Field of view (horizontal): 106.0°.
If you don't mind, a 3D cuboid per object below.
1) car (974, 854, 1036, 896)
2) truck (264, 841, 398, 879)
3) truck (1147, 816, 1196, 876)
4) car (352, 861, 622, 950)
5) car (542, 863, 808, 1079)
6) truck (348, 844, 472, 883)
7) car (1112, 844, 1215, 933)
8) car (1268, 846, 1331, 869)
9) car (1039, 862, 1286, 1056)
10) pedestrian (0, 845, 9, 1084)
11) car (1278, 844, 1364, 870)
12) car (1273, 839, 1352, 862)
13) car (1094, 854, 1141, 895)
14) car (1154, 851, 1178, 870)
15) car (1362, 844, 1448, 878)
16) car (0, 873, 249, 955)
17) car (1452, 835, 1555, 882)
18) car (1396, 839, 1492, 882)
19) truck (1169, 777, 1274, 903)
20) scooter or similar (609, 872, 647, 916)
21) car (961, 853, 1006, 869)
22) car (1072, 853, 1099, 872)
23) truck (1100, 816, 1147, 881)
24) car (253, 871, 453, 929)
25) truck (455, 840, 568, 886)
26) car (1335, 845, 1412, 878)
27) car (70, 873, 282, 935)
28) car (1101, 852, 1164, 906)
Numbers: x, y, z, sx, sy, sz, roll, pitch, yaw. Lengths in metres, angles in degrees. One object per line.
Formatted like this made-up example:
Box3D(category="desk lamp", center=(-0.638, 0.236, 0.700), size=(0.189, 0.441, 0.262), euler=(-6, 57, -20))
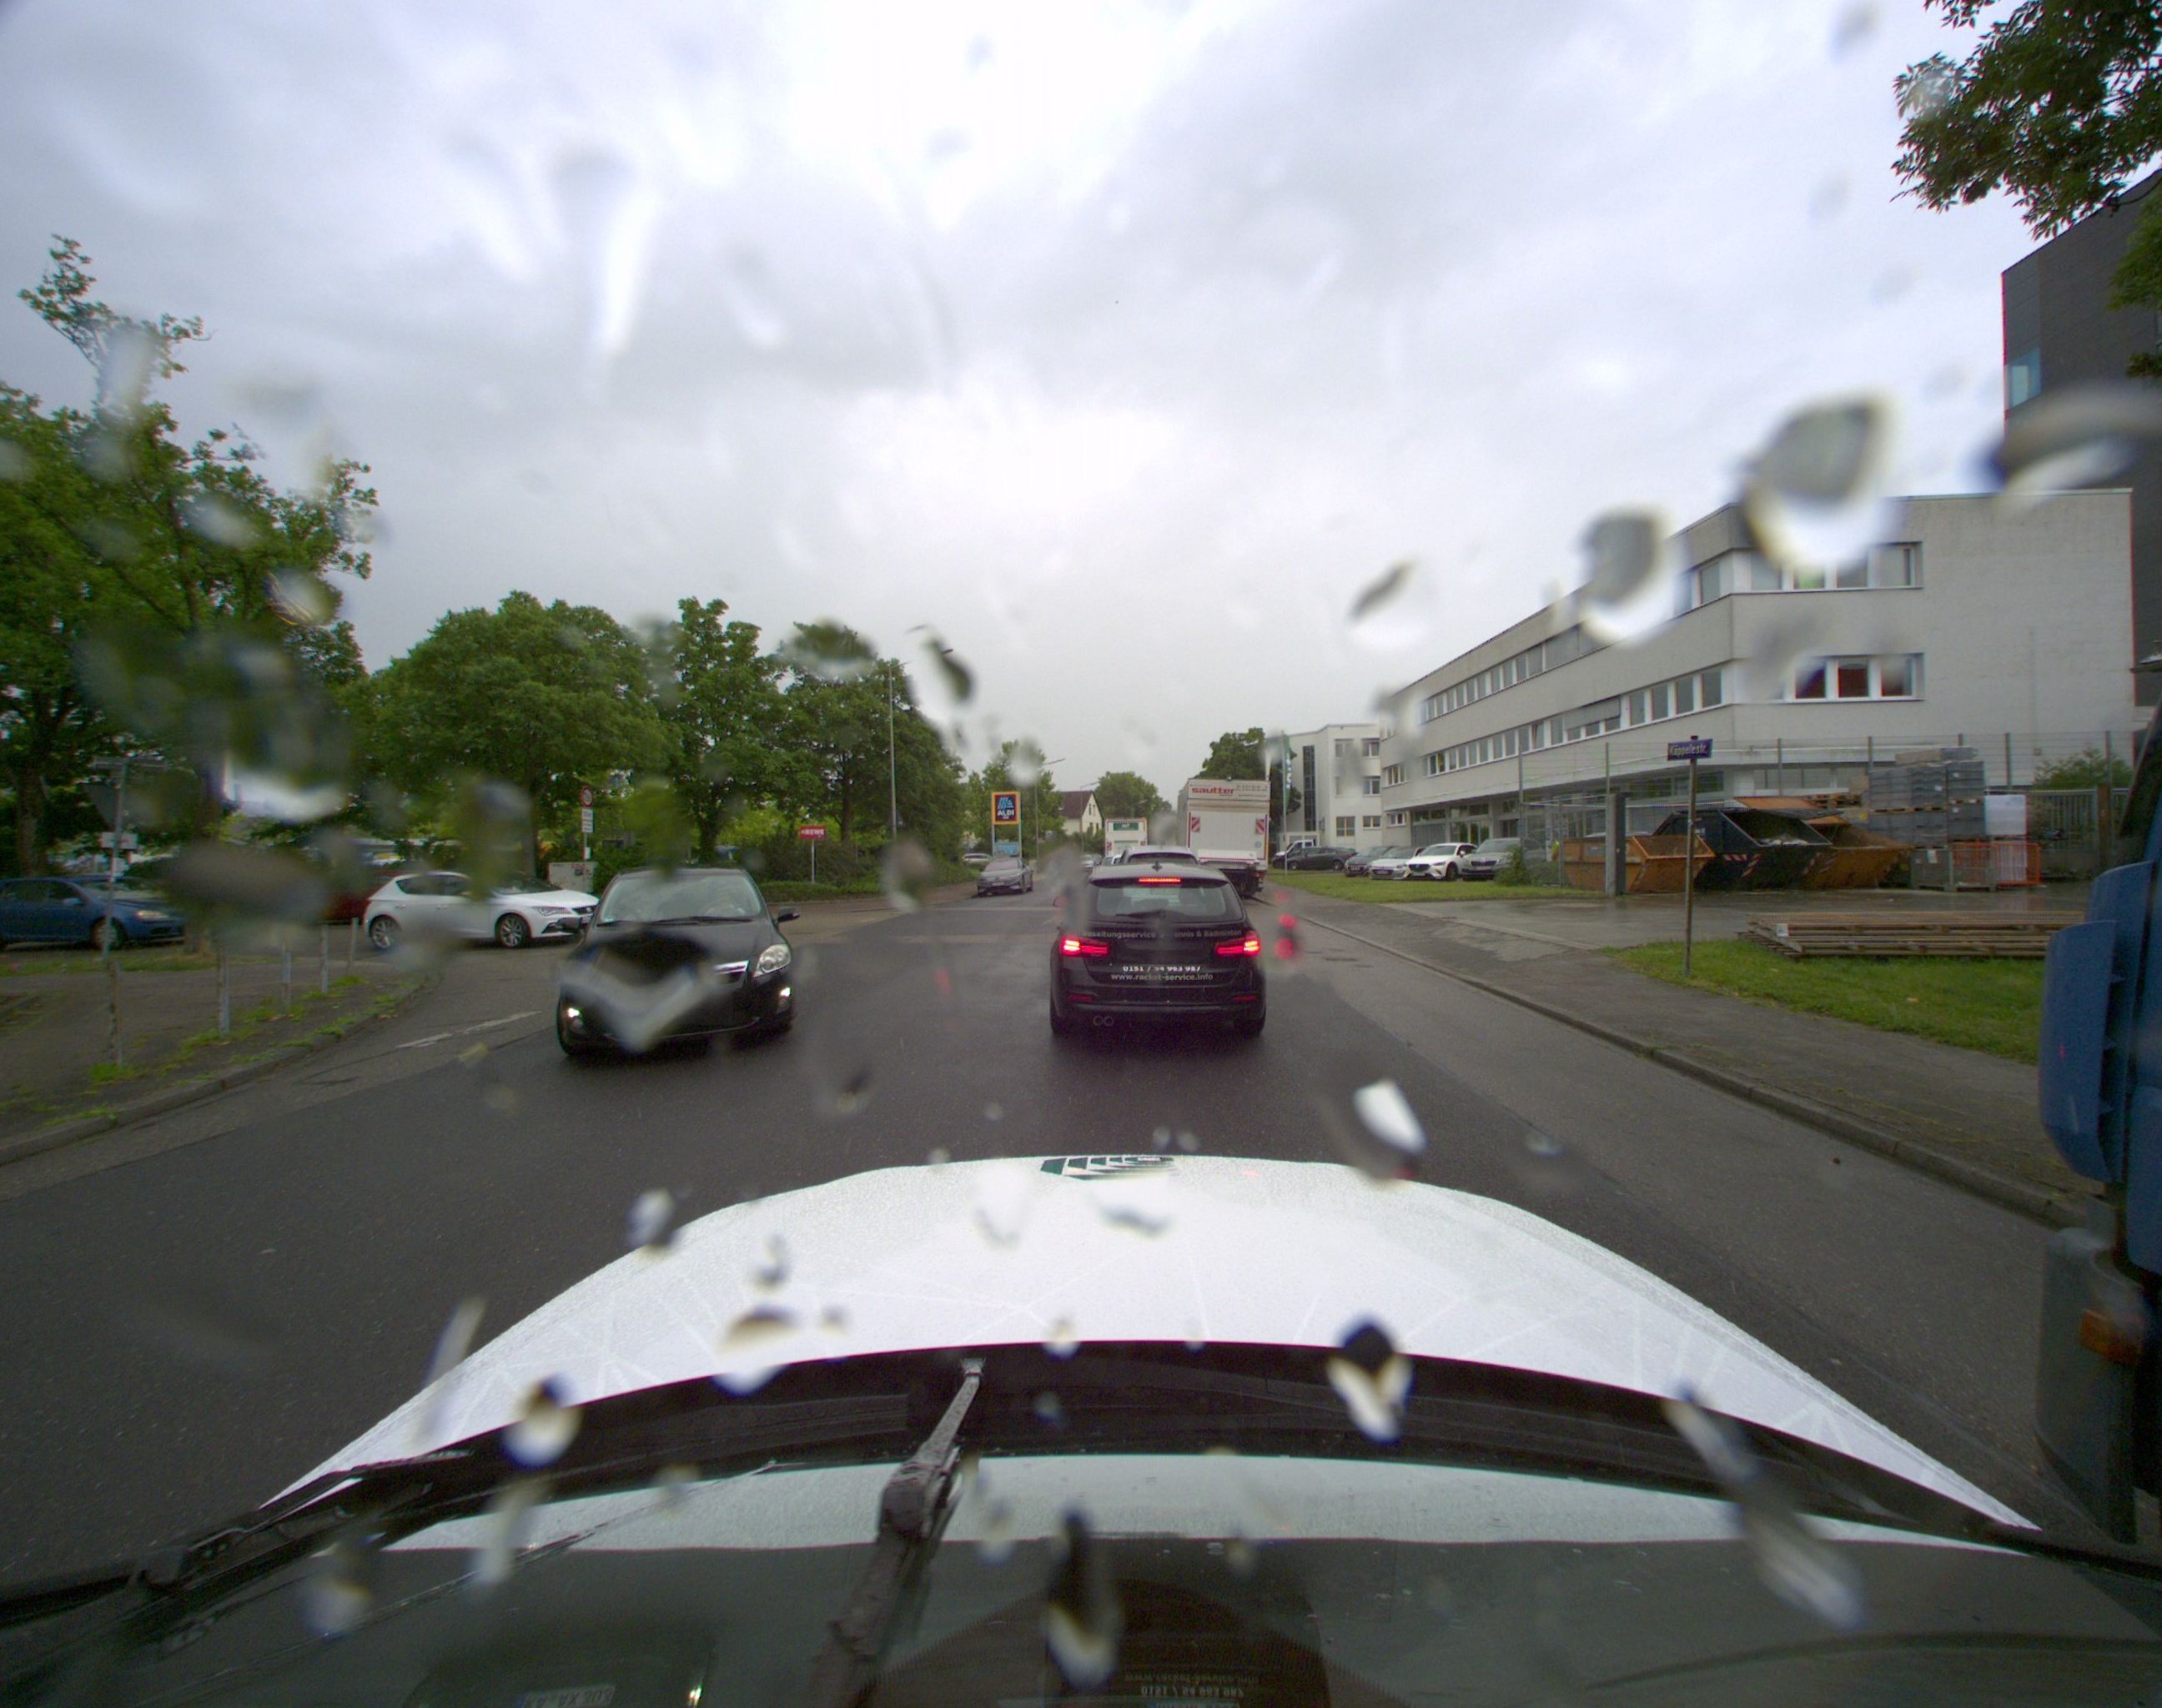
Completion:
Box3D(category="car", center=(-3.114, 0.835, 34.407), size=(1.801, 1.528, 4.751), euler=(-5, 0, 3))
Box3D(category="truck", center=(-43.477, 0.325, 47.462), size=(1.986, 2.060, 6.136), euler=(-1, 0, 1))
Box3D(category="truck", center=(5.747, -0.497, 52.857), size=(2.729, 3.611, 7.757), euler=(1, 0, 3))
Box3D(category="car", center=(-11.183, 0.949, 15.472), size=(3.965, 1.441, 1.740), euler=(-2, 0, 7))
Box3D(category="car", center=(-3.821, 0.842, 7.893), size=(1.739, 1.441, 3.966), euler=(-2, 0, -25))
Box3D(category="truck", center=(-39.009, 0.508, 47.622), size=(1.986, 2.094, 6.136), euler=(-1, 0, 1))
Box3D(category="car", center=(1.545, 0.620, 16.503), size=(1.797, 1.586, 4.002), euler=(0, 0, 2))
Box3D(category="car", center=(14.858, 0.188, 55.396), size=(3.734, 1.396, 1.738), euler=(3, 3, 44))
Box3D(category="car", center=(0.661, 0.790, 7.982), size=(1.797, 1.395, 4.002), euler=(0, 0, 2))
Box3D(category="pedestrian", center=(-7.939, 0.785, 5.330), size=(0.756, 1.674, 0.780), euler=(-1, 0, -9))
Box3D(category="car", center=(14.346, 0.197, 48.829), size=(4.616, 1.468, 1.802), euler=(-1, 0, 41))
Box3D(category="car", center=(20.409, -0.298, 71.849), size=(6.434, 2.014, 1.999), euler=(0, -1, -1))
Box3D(category="car", center=(1.453, 0.781, 33.214), size=(1.797, 1.552, 4.002), euler=(0, 0, 2))
Box3D(category="car", center=(6.948, 0.509, 67.003), size=(1.895, 1.540, 4.006), euler=(-1, 0, 5))
Box3D(category="car", center=(13.551, 0.274, 34.001), size=(4.022, 1.286, 1.686), euler=(-2, 0, -41))
Box3D(category="car", center=(-20.099, 1.220, 16.859), size=(3.971, 1.441, 1.738), euler=(-2, 0, 2))
Box3D(category="car", center=(14.766, 0.125, 28.381), size=(4.022, 1.527, 1.851), euler=(-2, 0, -42))
Box3D(category="car", center=(13.742, 0.212, 30.744), size=(4.022, 1.470, 1.754), euler=(-2, 0, -41))
Box3D(category="truck", center=(4.782, -0.456, 29.484), size=(2.729, 3.789, 9.309), euler=(1, 0, 4))
Box3D(category="scooter or similar", center=(-12.561, 1.102, 22.604), size=(0.282, 1.175, 1.063), euler=(-1, 0, 11))
Box3D(category="car", center=(-9.517, 0.669, 79.560), size=(3.969, 1.540, 1.913), euler=(-1, 0, 4))
Box3D(category="car", center=(0.409, 0.675, 67.387), size=(1.697, 1.367, 4.608), euler=(-4, 0, 6))
Box3D(category="truck", center=(2.413, -0.453, 45.641), size=(2.331, 3.256, 7.759), euler=(1, 3, 3))
Box3D(category="car", center=(-20.061, 1.247, 22.544), size=(3.971, 1.363, 1.738), euler=(-2, 0, 2))
Box3D(category="truck", center=(-34.838, 0.495, 50.105), size=(1.984, 2.601, 6.406), euler=(-1, 0, 5))
Box3D(category="car", center=(13.314, 0.330, 37.004), size=(3.788, 1.393, 1.686), euler=(-2, 0, -41))
Box3D(category="car", center=(-24.958, 1.355, 22.545), size=(3.971, 1.441, 1.738), euler=(-2, 0, 2))
Box3D(category="car", center=(1.534, 0.719, 25.298), size=(1.797, 1.552, 4.002), euler=(0, 0, 2))
